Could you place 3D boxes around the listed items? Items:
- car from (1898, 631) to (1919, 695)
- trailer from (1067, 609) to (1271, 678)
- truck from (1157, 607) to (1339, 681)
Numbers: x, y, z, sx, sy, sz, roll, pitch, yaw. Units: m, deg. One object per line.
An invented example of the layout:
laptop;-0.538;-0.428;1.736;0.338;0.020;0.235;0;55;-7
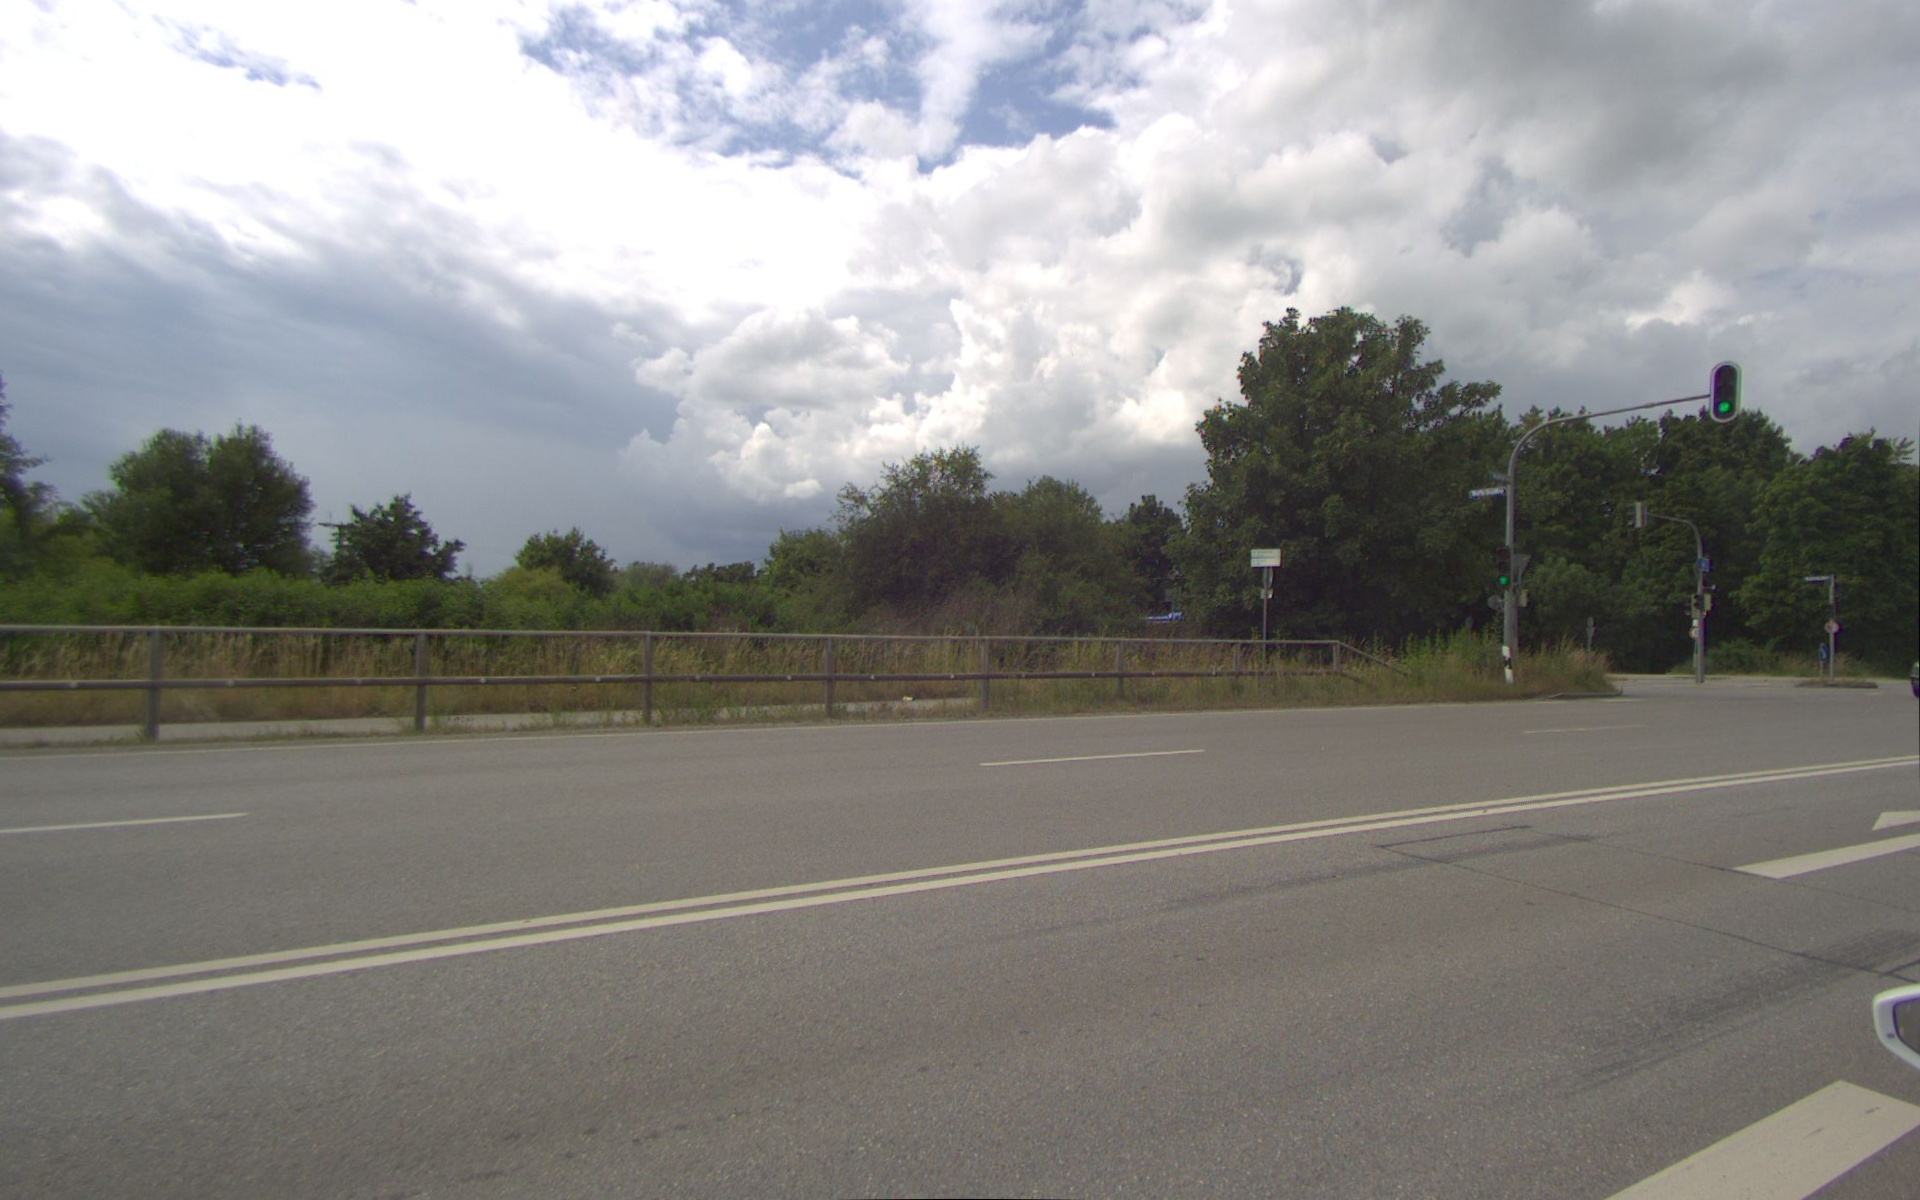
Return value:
car;26.059;1.626;25.747;3.950;1.594;1.784;2;-2;-28
trailer;9.986;2.057;49.688;2.860;3.077;10.642;1;-2;-37
truck;12.941;1.949;45.806;2.860;3.077;7.858;1;-2;-37
